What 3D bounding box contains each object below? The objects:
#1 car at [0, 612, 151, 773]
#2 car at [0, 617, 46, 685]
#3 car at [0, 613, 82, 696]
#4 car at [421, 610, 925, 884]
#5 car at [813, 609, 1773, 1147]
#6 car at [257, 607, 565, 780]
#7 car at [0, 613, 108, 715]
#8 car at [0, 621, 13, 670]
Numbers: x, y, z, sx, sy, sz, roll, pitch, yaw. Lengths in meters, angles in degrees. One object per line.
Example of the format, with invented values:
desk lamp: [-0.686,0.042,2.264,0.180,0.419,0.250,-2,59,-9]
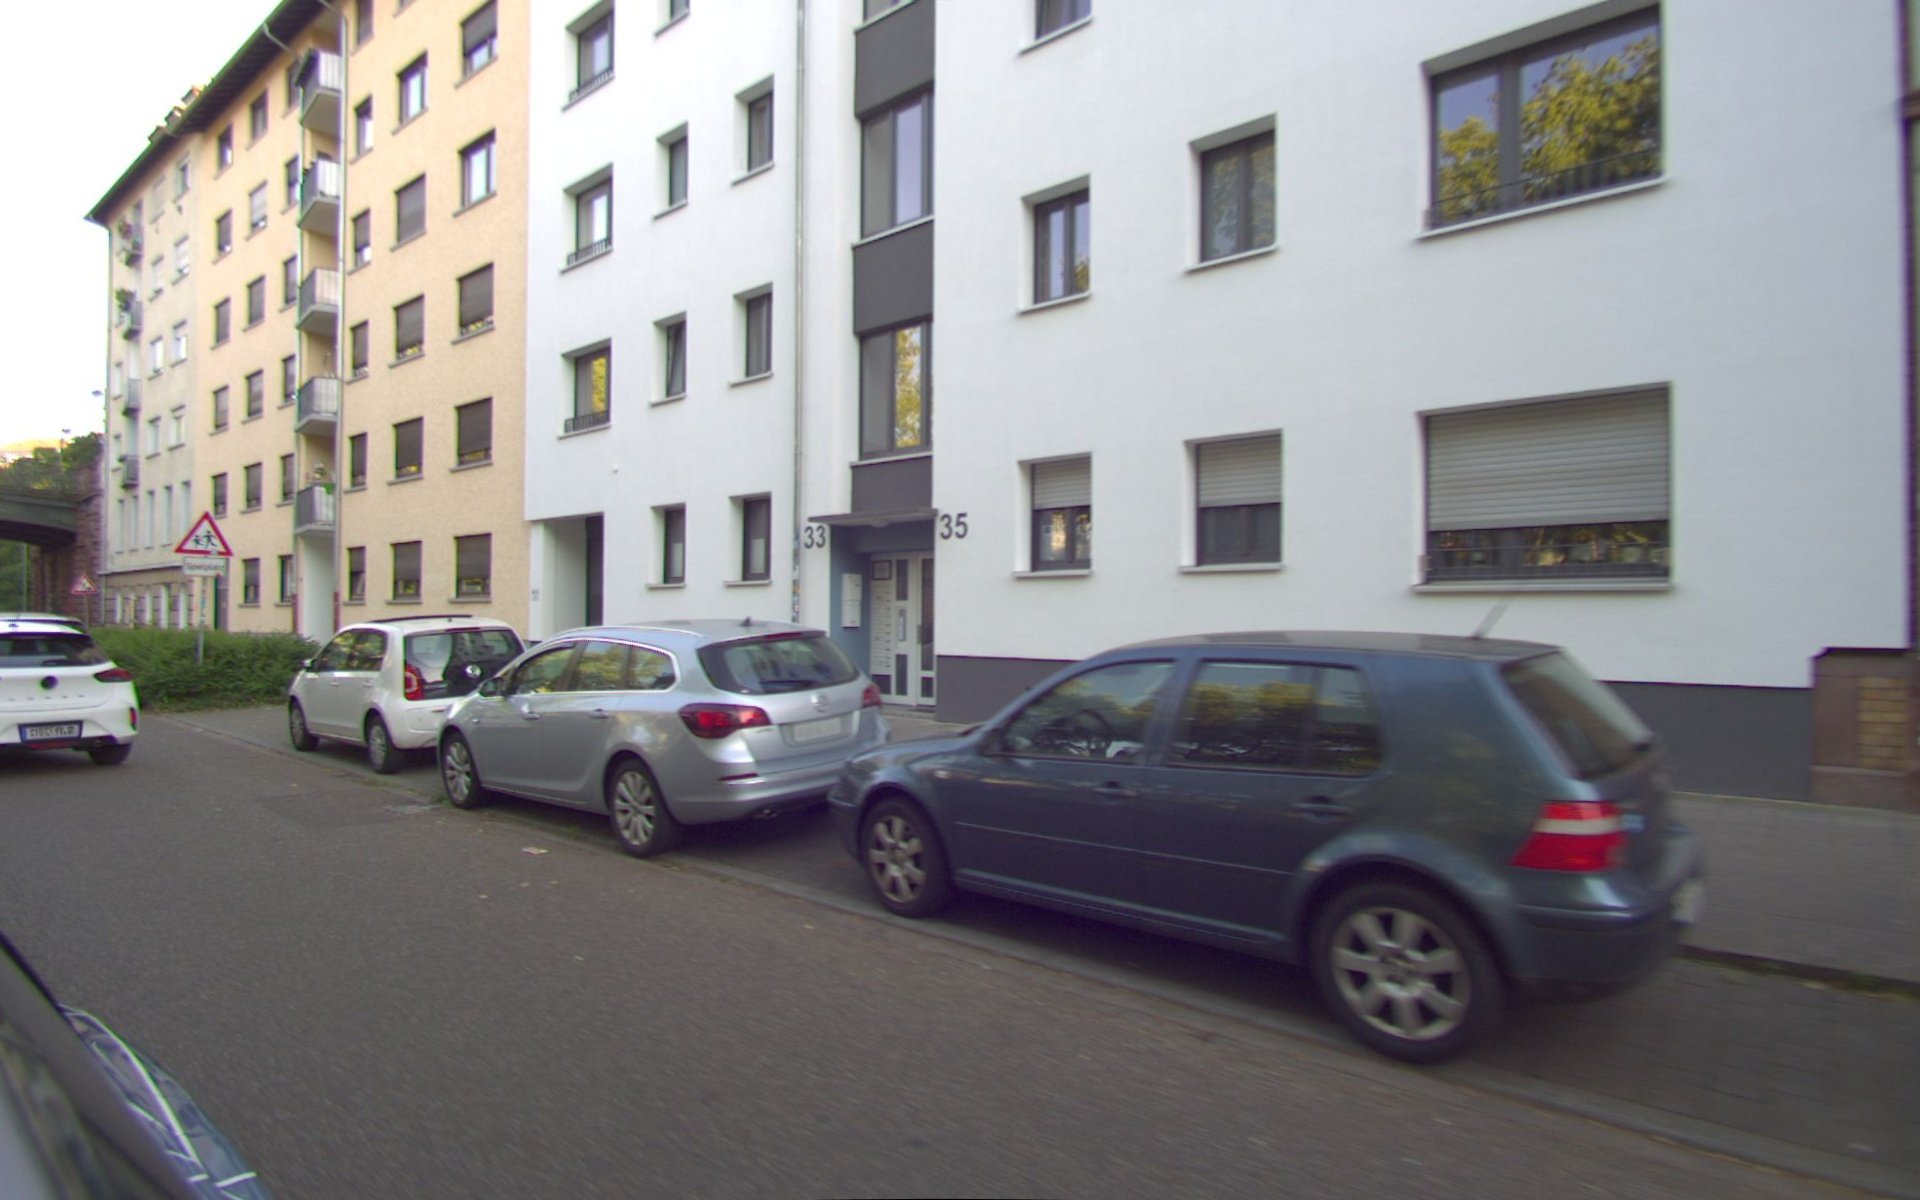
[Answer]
car: [-10.204,0.879,10.239,3.981,1.442,1.658,-1,-5,28]
car: [-22.980,1.166,24.000,3.782,1.529,1.550,-1,-2,43]
car: [-19.039,1.032,20.229,3.771,1.537,1.685,-1,-2,41]
car: [-2.399,0.859,7.754,4.282,1.482,1.651,-1,1,42]
car: [1.200,0.809,4.780,4.000,1.463,1.598,-1,0,43]
car: [-6.174,0.887,11.188,3.997,1.519,1.651,-1,1,41]
car: [-15.389,0.983,16.518,3.999,1.490,1.720,-1,-3,42]
car: [-31.186,1.352,31.806,3.999,1.478,1.619,-1,-5,42]
